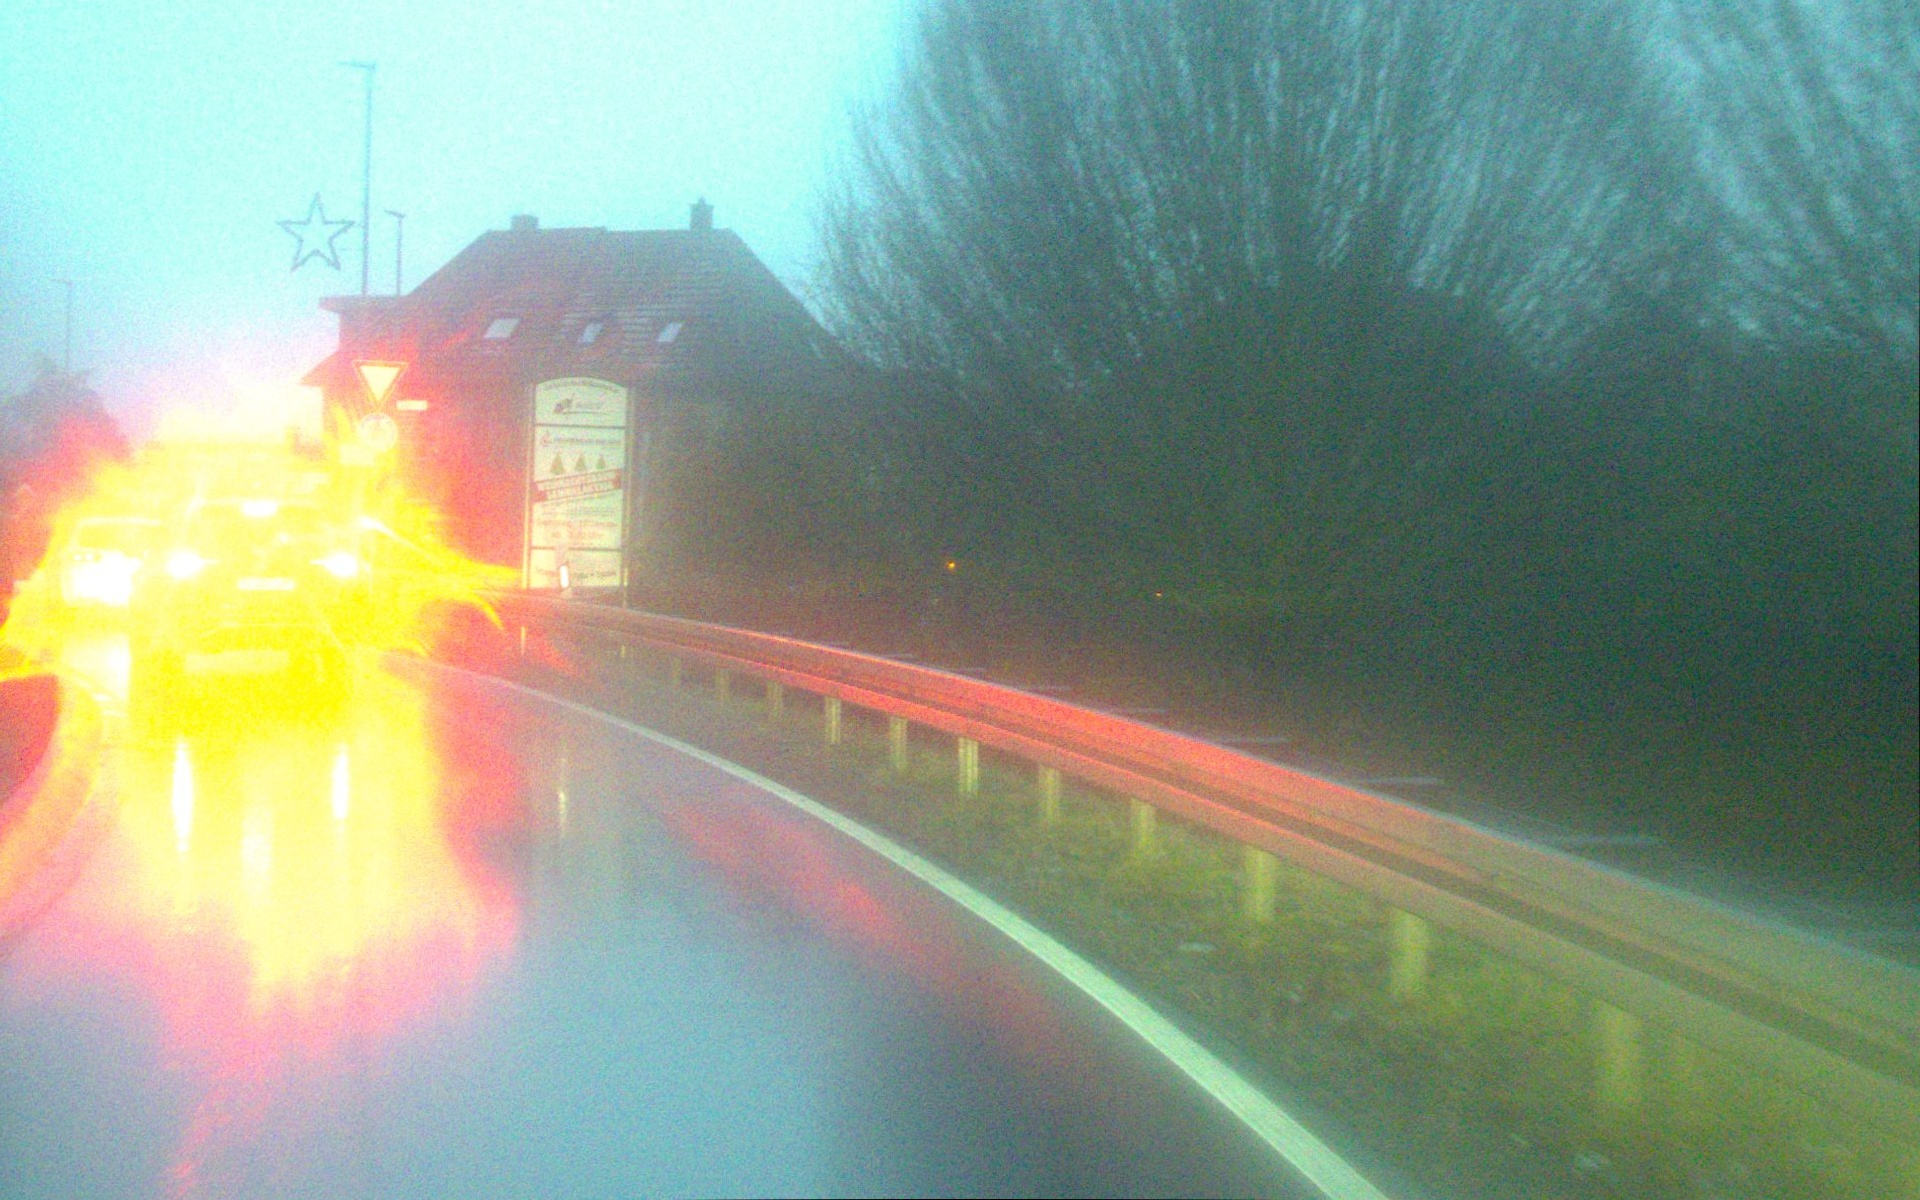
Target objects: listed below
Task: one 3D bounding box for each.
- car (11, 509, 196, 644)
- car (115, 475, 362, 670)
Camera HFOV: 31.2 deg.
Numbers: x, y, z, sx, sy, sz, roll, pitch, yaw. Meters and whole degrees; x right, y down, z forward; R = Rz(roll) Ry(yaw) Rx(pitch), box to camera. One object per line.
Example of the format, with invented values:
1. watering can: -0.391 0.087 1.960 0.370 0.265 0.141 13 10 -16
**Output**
1. car: -12.024 -0.367 48.073 2.163 1.683 4.573 1 2 -18
2. car: -7.049 -0.280 33.306 1.944 1.712 4.001 2 0 -17
